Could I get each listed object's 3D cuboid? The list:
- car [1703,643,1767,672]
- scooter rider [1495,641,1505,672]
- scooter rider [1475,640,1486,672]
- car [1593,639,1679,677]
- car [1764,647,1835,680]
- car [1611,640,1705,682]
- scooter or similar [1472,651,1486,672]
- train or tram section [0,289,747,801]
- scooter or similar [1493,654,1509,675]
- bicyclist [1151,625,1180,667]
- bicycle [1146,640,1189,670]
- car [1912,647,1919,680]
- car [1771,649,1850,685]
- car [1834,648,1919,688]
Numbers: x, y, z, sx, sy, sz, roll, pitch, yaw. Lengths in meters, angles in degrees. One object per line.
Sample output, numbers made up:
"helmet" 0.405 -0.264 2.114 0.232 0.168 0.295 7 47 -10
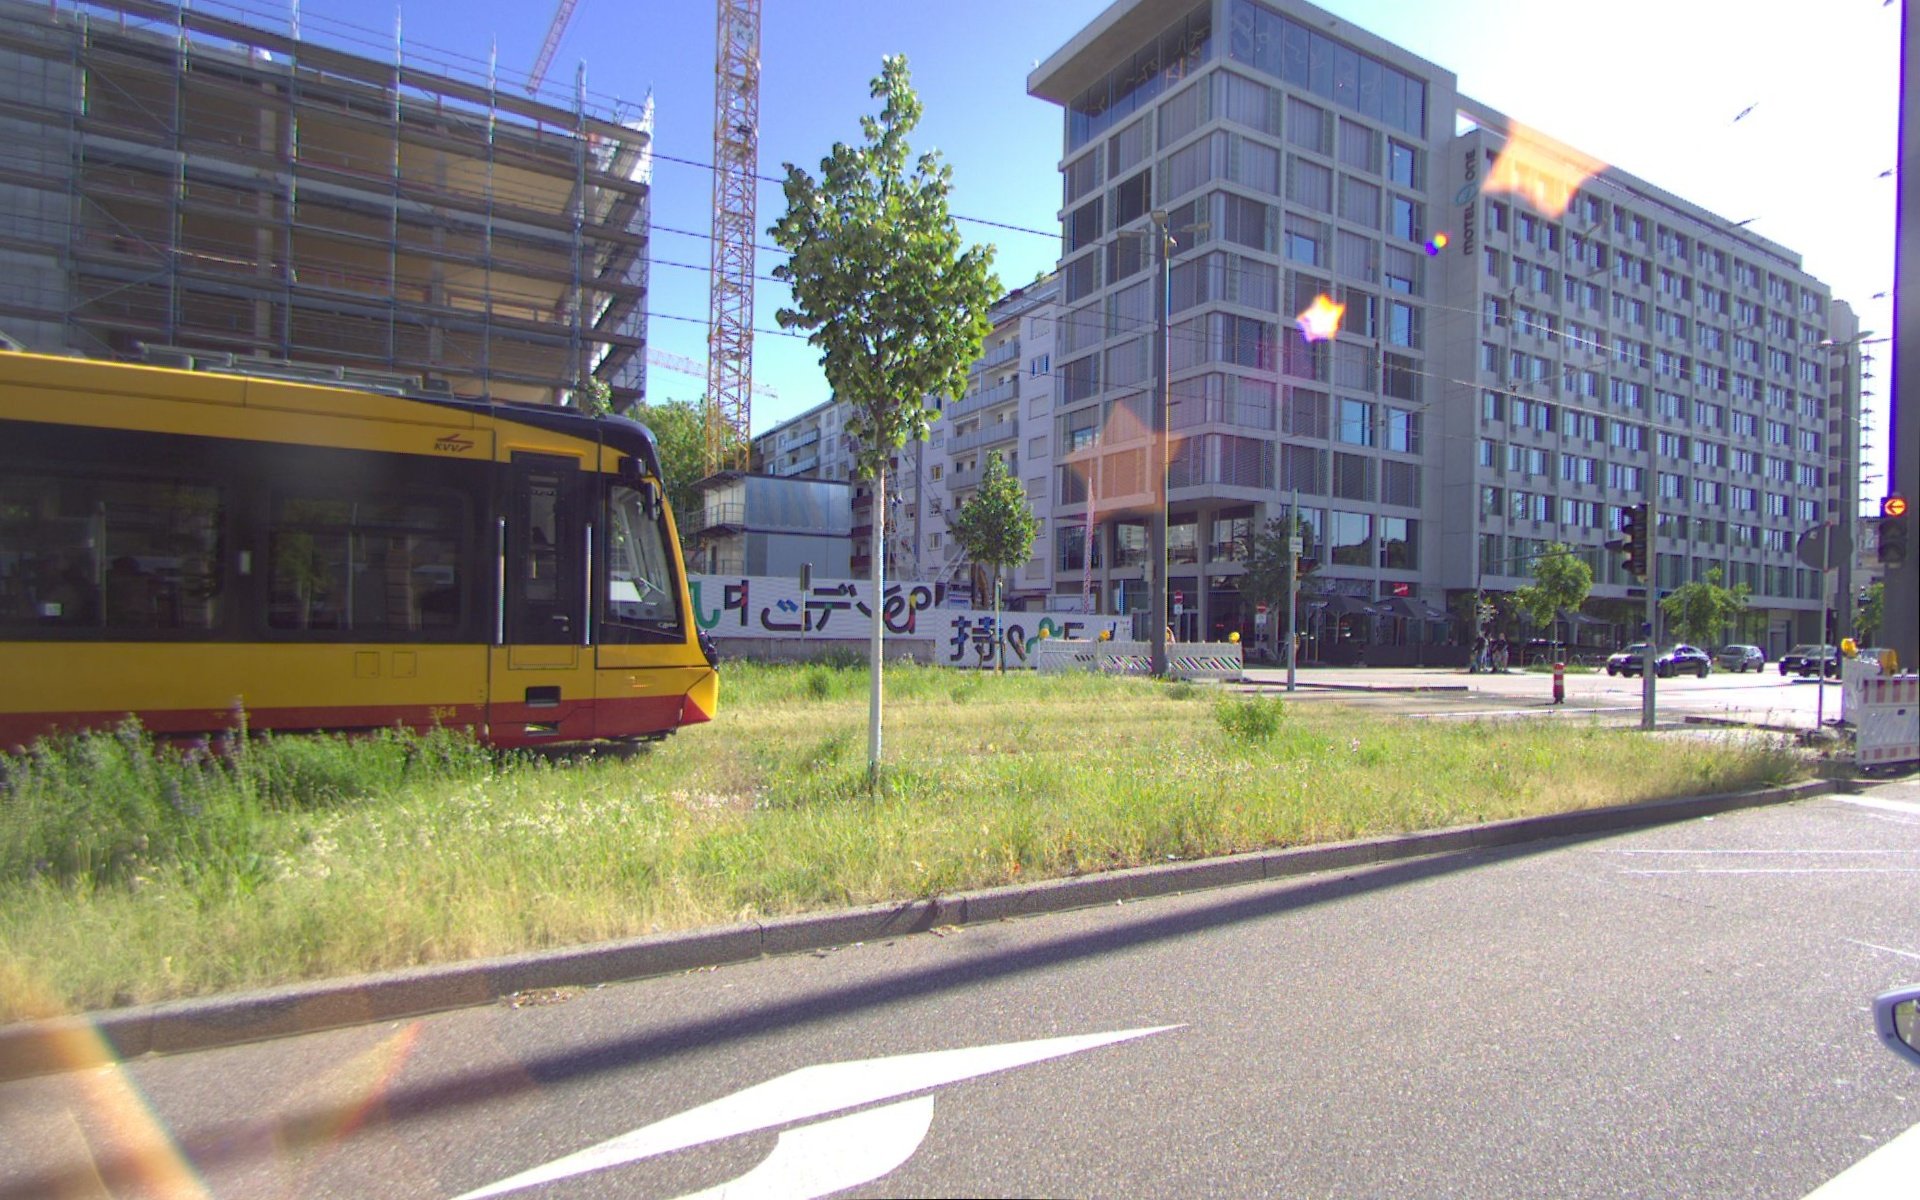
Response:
"car" 47.937 3.533 62.105 3.953 1.673 1.782 2 -1 -30
"scooter rider" 25.625 2.671 47.638 0.236 1.472 0.341 2 -1 -29
"scooter rider" 23.878 2.562 46.068 0.236 1.472 0.341 2 -1 -29
"car" 31.716 2.713 47.119 3.953 1.673 1.782 2 -1 -30
"car" 46.266 3.495 55.334 3.953 1.673 1.782 2 -1 -30
"car" 29.648 2.577 42.644 3.953 1.673 1.782 2 -1 -30
"scooter or similar" 23.879 2.844 46.212 0.758 0.960 0.227 2 -1 -30
"train or tram section" -8.327 -0.409 8.074 12.630 3.686 2.804 2 -1 -28
"scooter or similar" 25.669 3.050 47.669 0.756 0.960 0.285 2 -1 -24
"bicyclist" 8.135 1.830 39.823 0.881 1.601 0.591 3 0 -26
"bicycle" 8.203 2.181 39.719 1.601 1.115 0.585 3 0 -27
"car" 49.986 3.237 50.678 3.953 1.673 1.782 2 -1 -30
"car" 42.380 3.330 50.055 3.953 1.673 1.782 2 -1 -30
"car" 41.427 3.047 45.275 4.284 1.673 1.782 2 -1 -30
